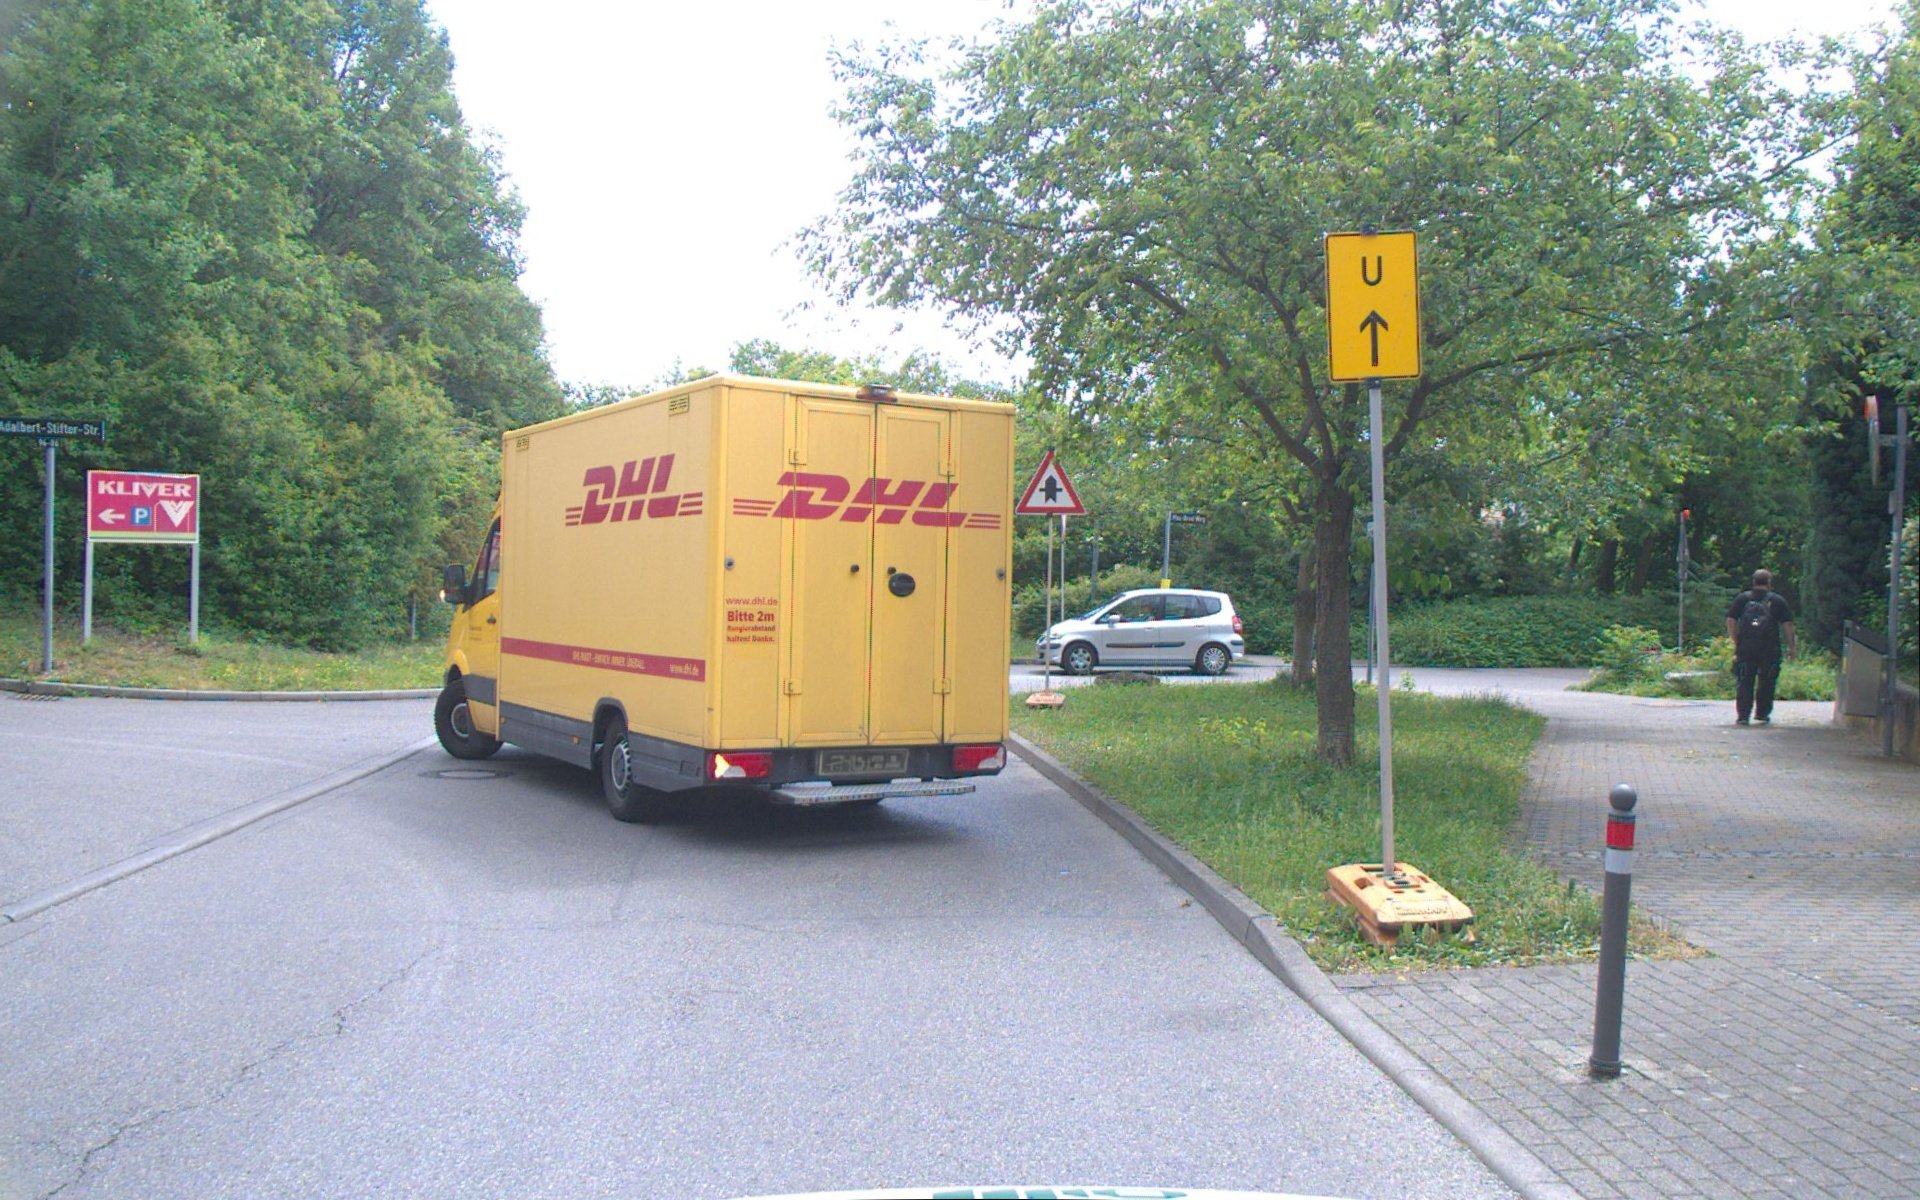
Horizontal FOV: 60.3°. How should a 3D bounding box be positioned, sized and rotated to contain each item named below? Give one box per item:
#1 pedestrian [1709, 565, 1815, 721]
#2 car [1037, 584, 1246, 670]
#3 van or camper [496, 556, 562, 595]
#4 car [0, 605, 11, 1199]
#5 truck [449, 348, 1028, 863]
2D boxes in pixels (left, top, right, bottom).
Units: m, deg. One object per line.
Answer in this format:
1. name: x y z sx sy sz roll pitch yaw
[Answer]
1. pedestrian: 9.300 0.488 19.199 0.816 1.767 0.785 1 0 -6
2. car: 3.254 0.480 30.158 3.567 1.481 1.847 1 0 -2
3. van or camper: -24.412 -1.421 93.636 1.977 1.953 5.203 -2 4 -34
4. car: -2.543 0.748 0.883 1.717 1.444 4.365 0 1 -3
5. truck: -2.090 -0.004 12.580 2.201 2.857 6.509 0 1 -29
